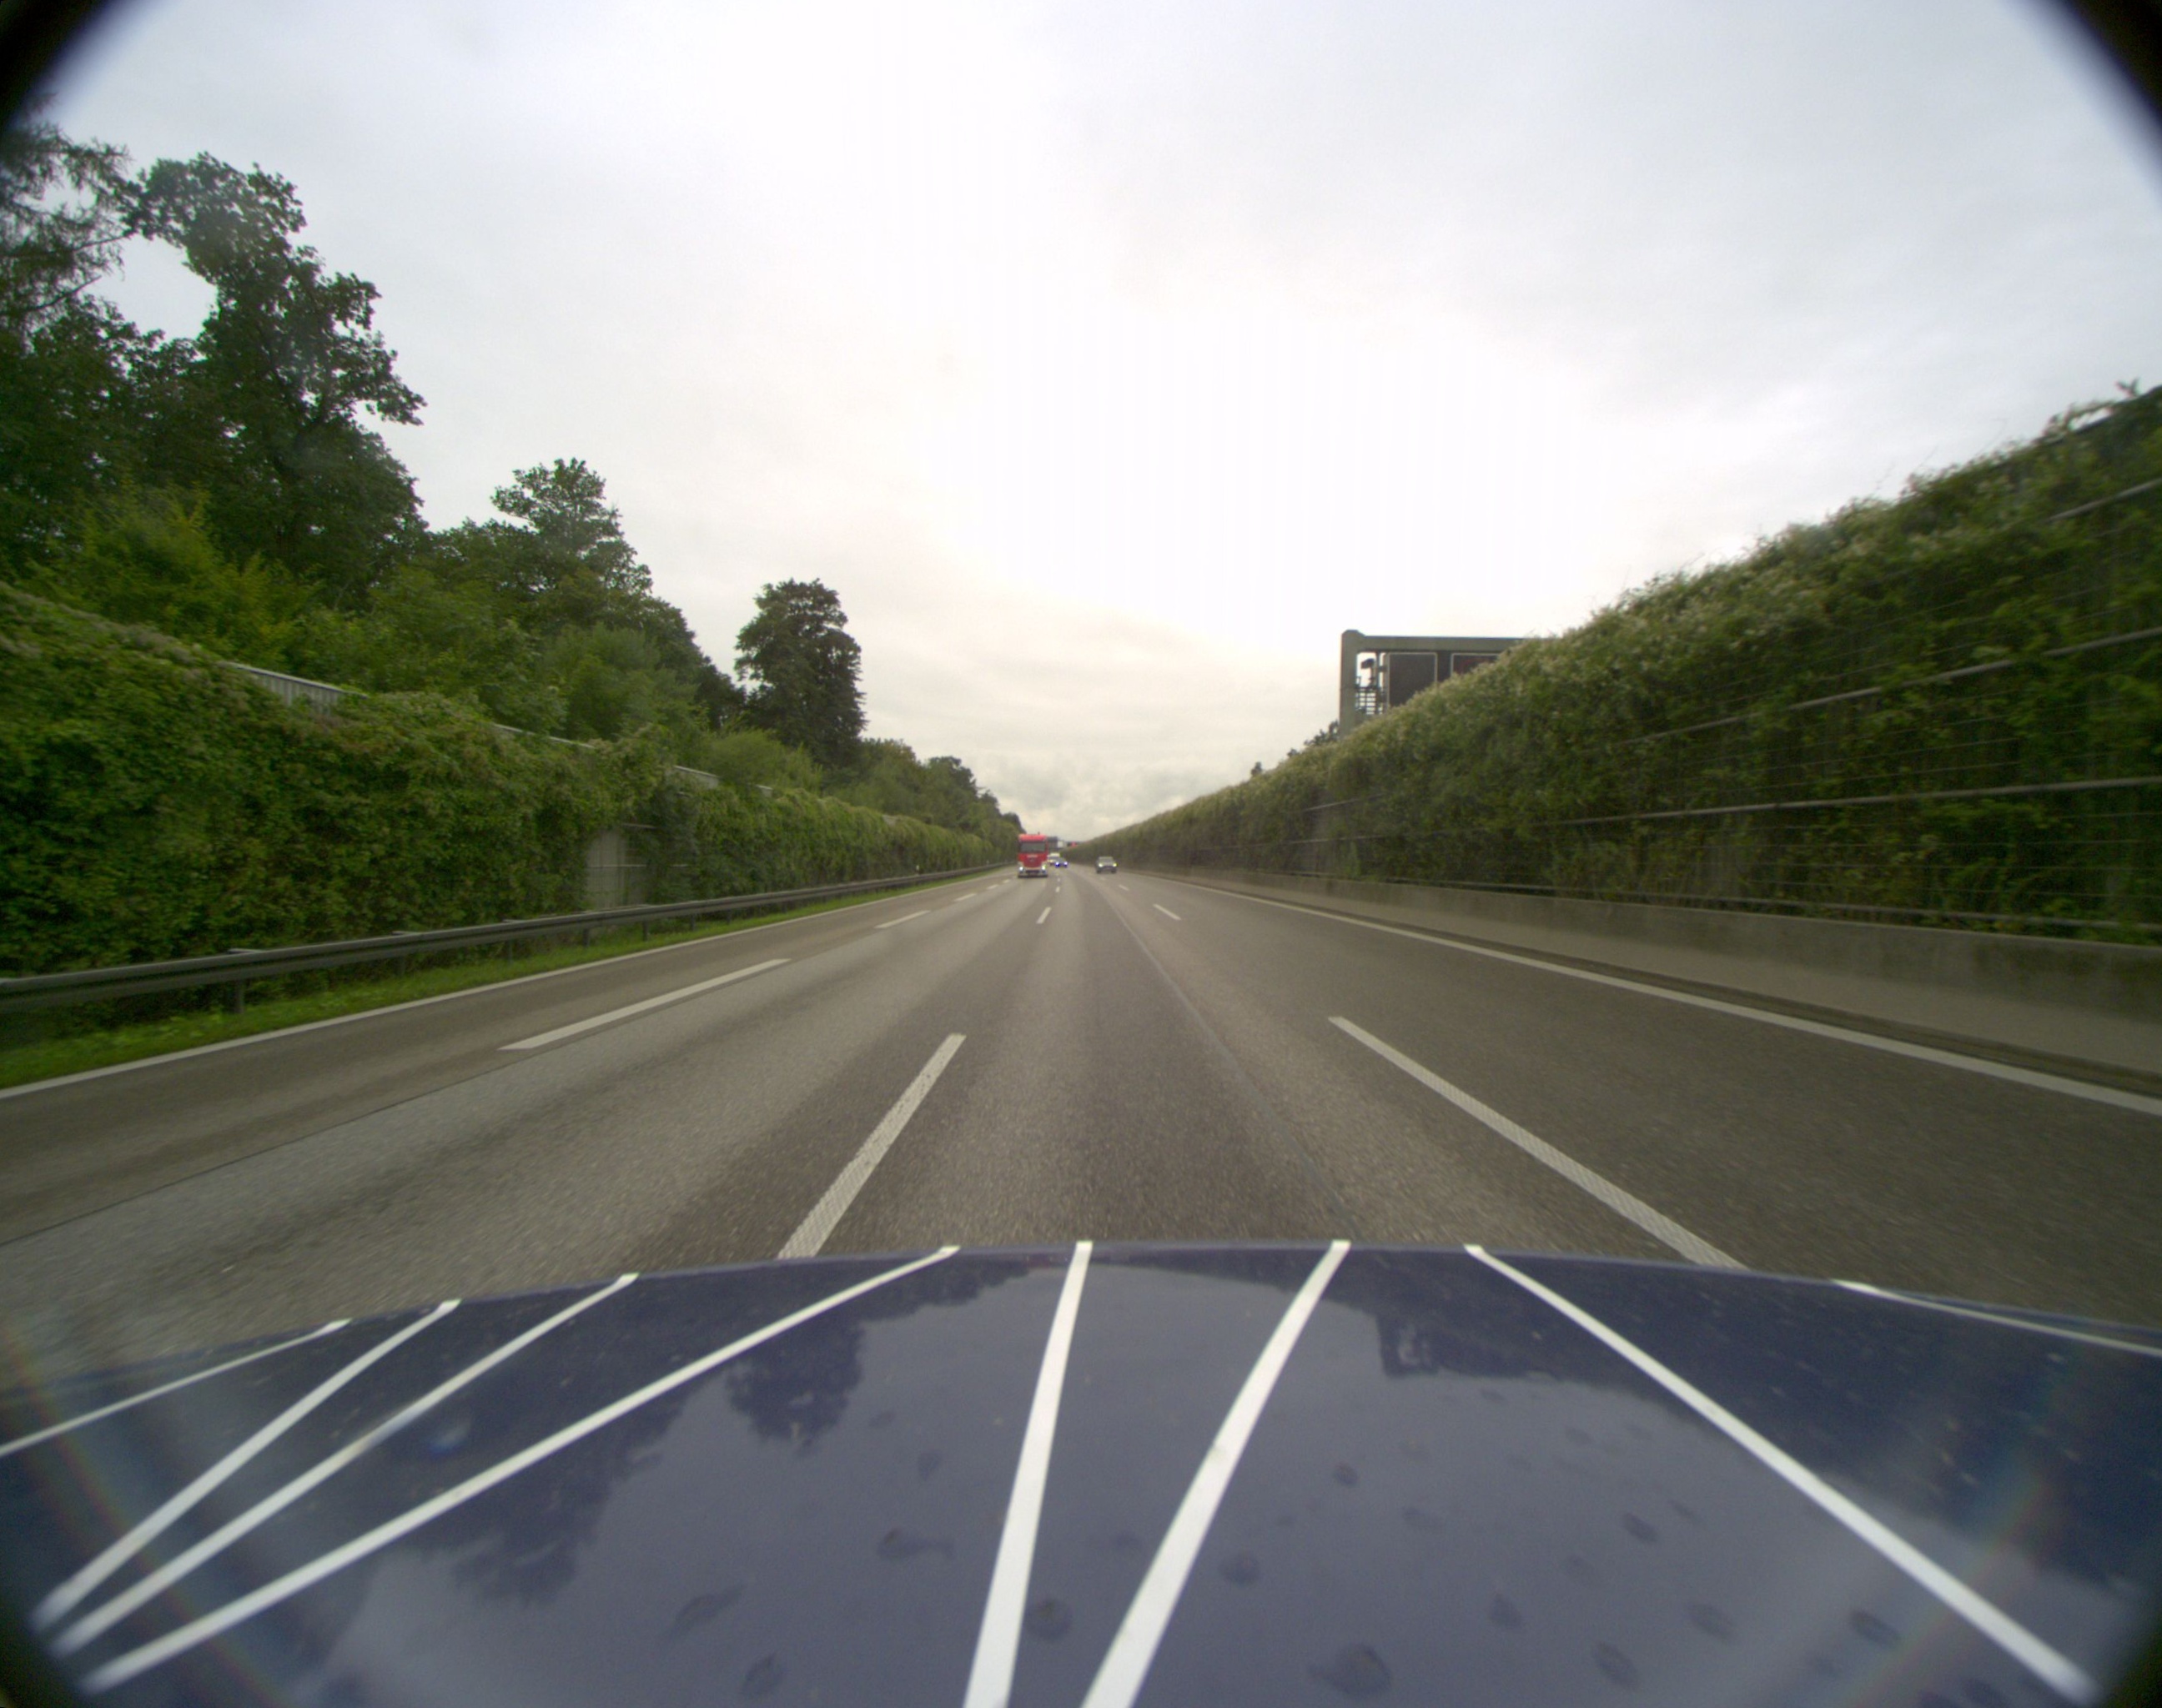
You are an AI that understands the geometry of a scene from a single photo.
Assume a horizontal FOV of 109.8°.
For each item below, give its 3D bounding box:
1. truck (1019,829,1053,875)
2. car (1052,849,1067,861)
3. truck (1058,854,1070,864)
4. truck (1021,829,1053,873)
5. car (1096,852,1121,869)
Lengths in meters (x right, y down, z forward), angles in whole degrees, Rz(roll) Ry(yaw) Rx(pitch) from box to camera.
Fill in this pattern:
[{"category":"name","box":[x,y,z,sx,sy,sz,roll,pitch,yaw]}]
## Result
[{"category":"truck","box":[-3.823,-0.207,65.469,2.709,3.809,4.196,-1,2,-2]},{"category":"car","box":[-4.236,0.255,149.090,2.770,2.227,6.544,-1,1,-3]},{"category":"truck","box":[-2.731,0.769,124.733,1.825,1.535,3.998,-1,2,-1]},{"category":"truck","box":[-3.947,-0.386,70.260,2.709,3.690,9.837,-1,2,-2]},{"category":"car","box":[2.782,0.635,77.558,2.023,1.595,5.437,-3,1,-2]}]
